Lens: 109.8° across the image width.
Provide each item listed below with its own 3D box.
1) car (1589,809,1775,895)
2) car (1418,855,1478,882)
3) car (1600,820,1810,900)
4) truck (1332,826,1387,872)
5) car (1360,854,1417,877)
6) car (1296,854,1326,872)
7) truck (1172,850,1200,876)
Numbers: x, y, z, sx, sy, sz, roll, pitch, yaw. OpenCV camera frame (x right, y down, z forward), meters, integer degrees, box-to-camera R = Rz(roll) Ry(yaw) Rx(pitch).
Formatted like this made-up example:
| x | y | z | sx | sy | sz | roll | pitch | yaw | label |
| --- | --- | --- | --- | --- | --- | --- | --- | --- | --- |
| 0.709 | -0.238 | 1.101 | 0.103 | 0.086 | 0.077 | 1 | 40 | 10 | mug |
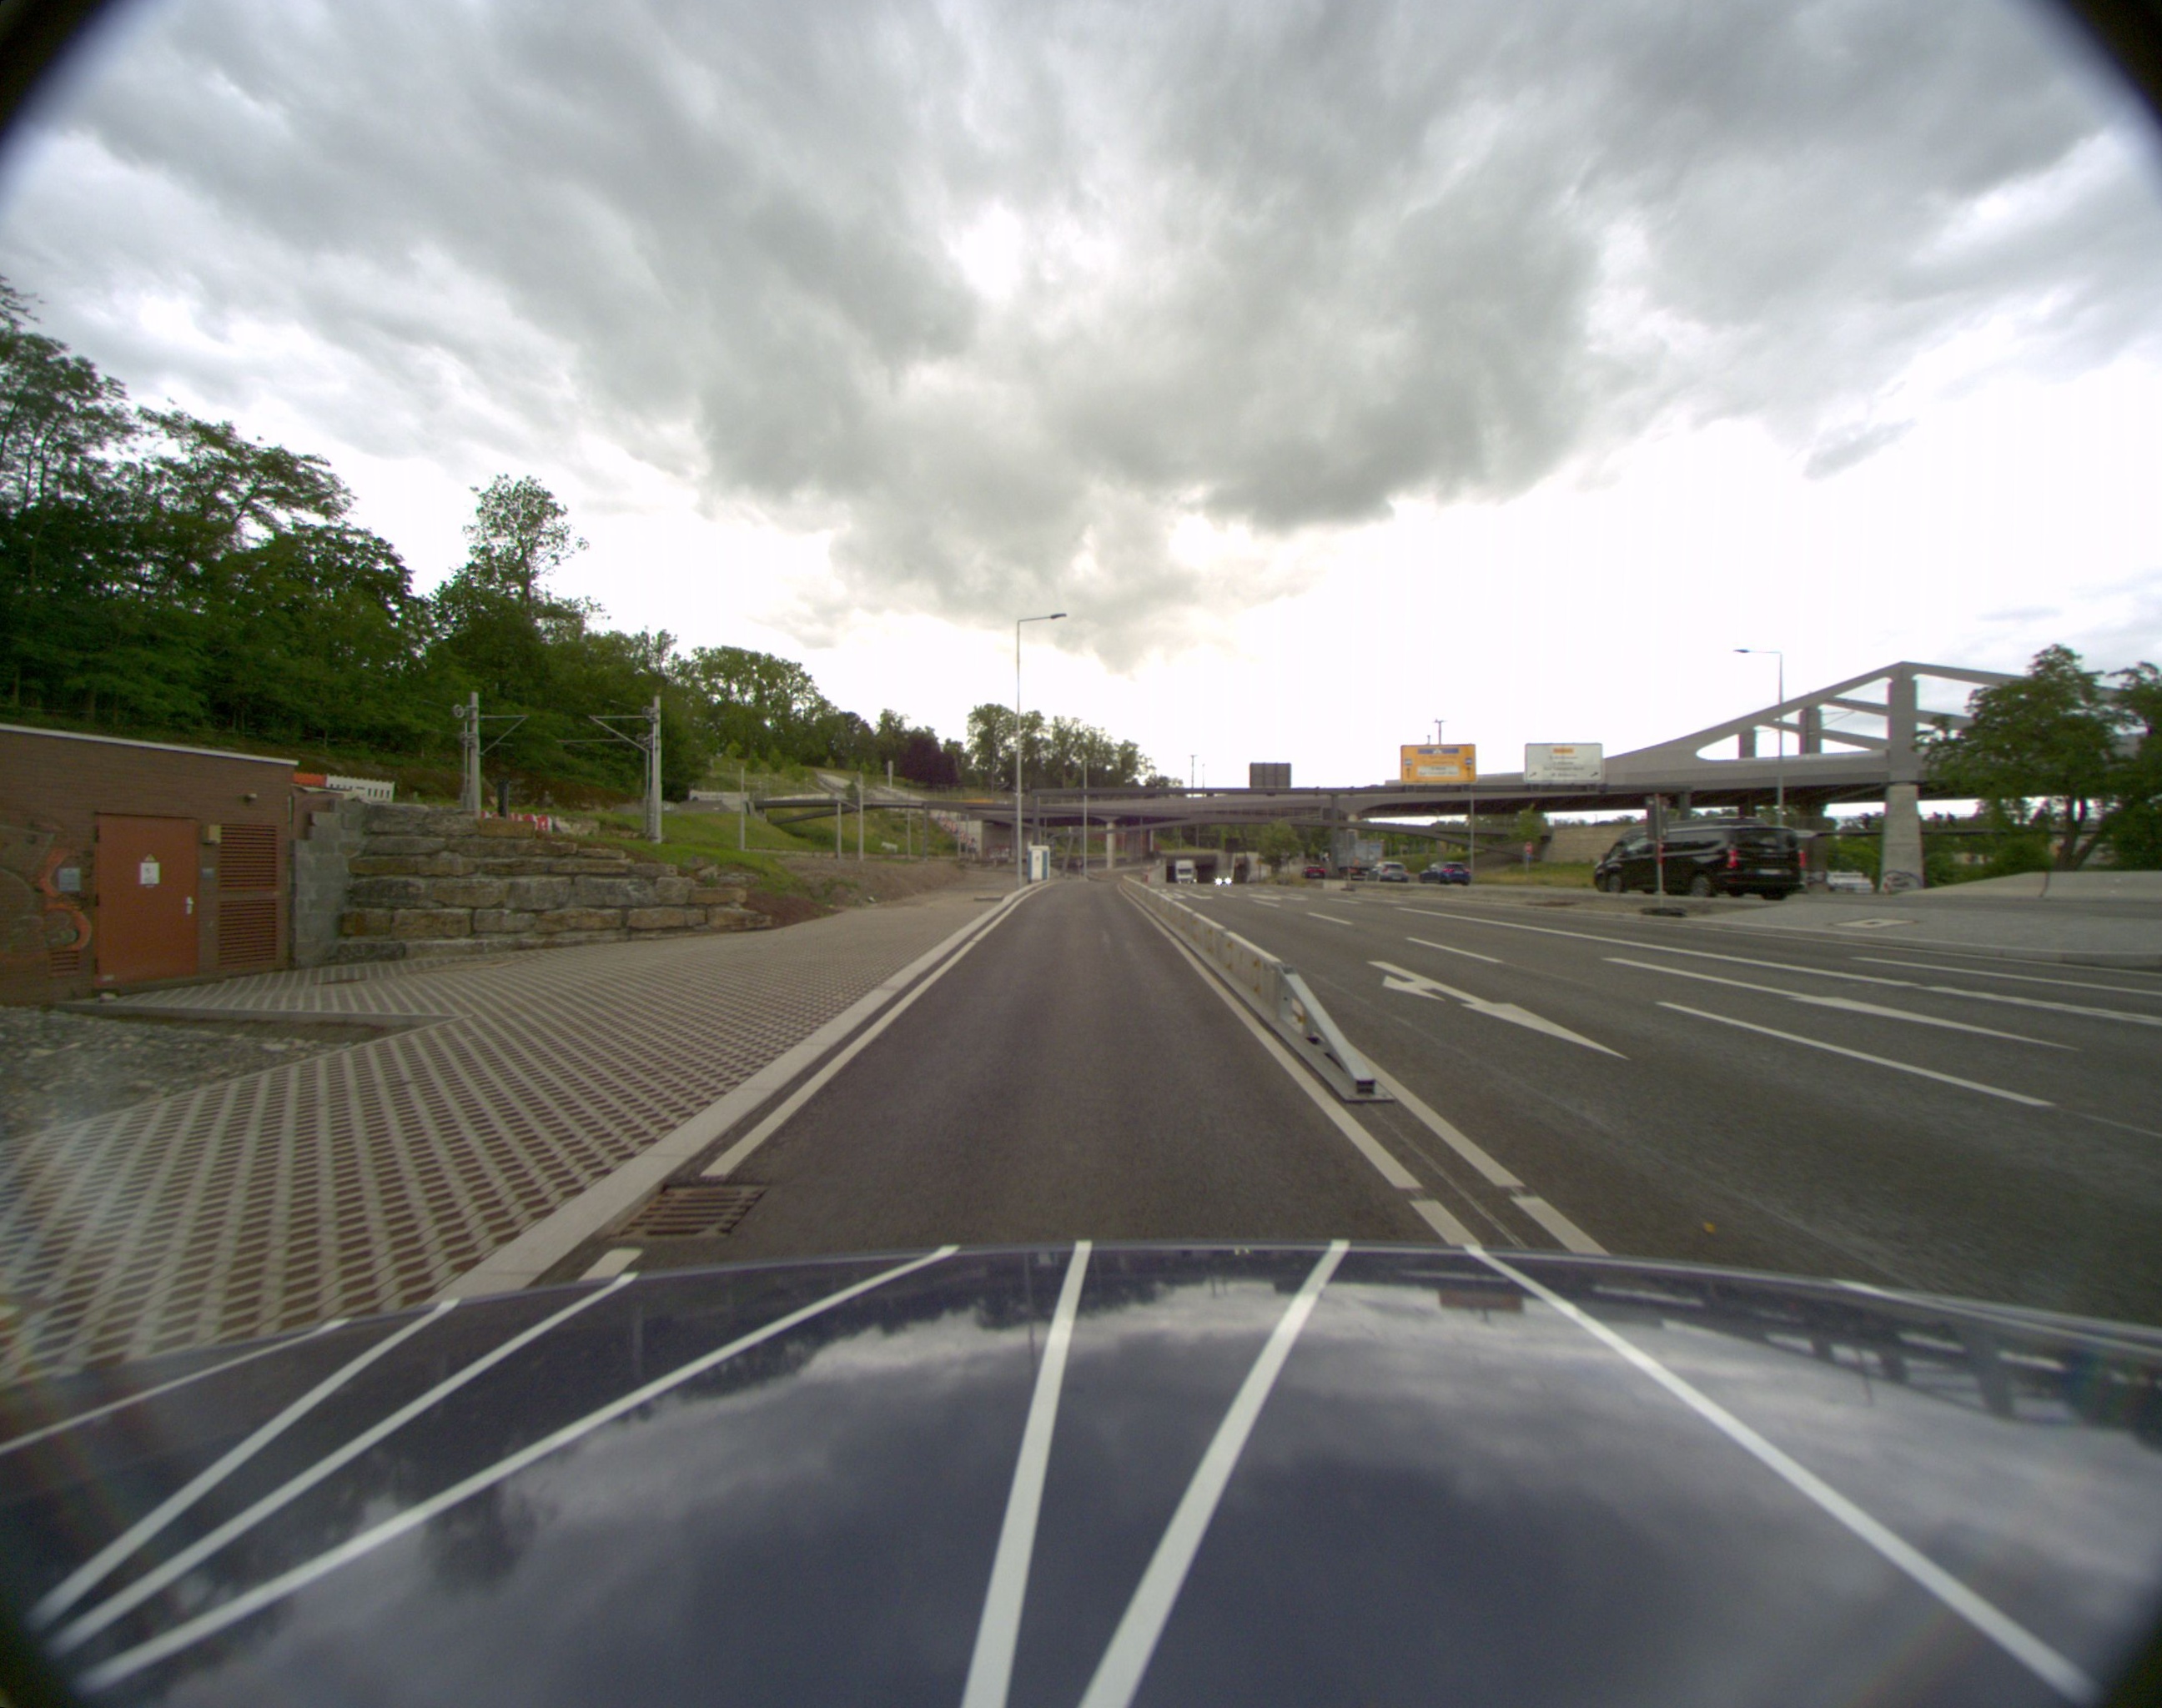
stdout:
| x | y | z | sx | sy | sz | roll | pitch | yaw | label |
| --- | --- | --- | --- | --- | --- | --- | --- | --- | --- |
| 21.727 | -0.029 | 27.959 | 2.220 | 2.760 | 6.147 | -2 | -1 | 3 | car |
| 24.489 | 0.954 | 50.935 | 1.890 | 1.674 | 4.489 | -1 | -1 | 1 | car |
| 17.631 | 0.152 | 21.912 | 1.967 | 2.002 | 5.190 | -1 | 0 | 3 | car |
| 26.693 | -0.308 | 73.529 | 2.903 | 4.037 | 14.005 | 0 | -1 | 12 | truck |
| 19.162 | 0.693 | 47.599 | 1.890 | 1.323 | 4.257 | 1 | 0 | 1 | car |
| 22.712 | 0.920 | 75.181 | 1.710 | 1.611 | 4.453 | 3 | 0 | 2 | car |
| 13.181 | 1.149 | 96.088 | 2.747 | 3.108 | 8.122 | -1 | -1 | 3 | truck |
